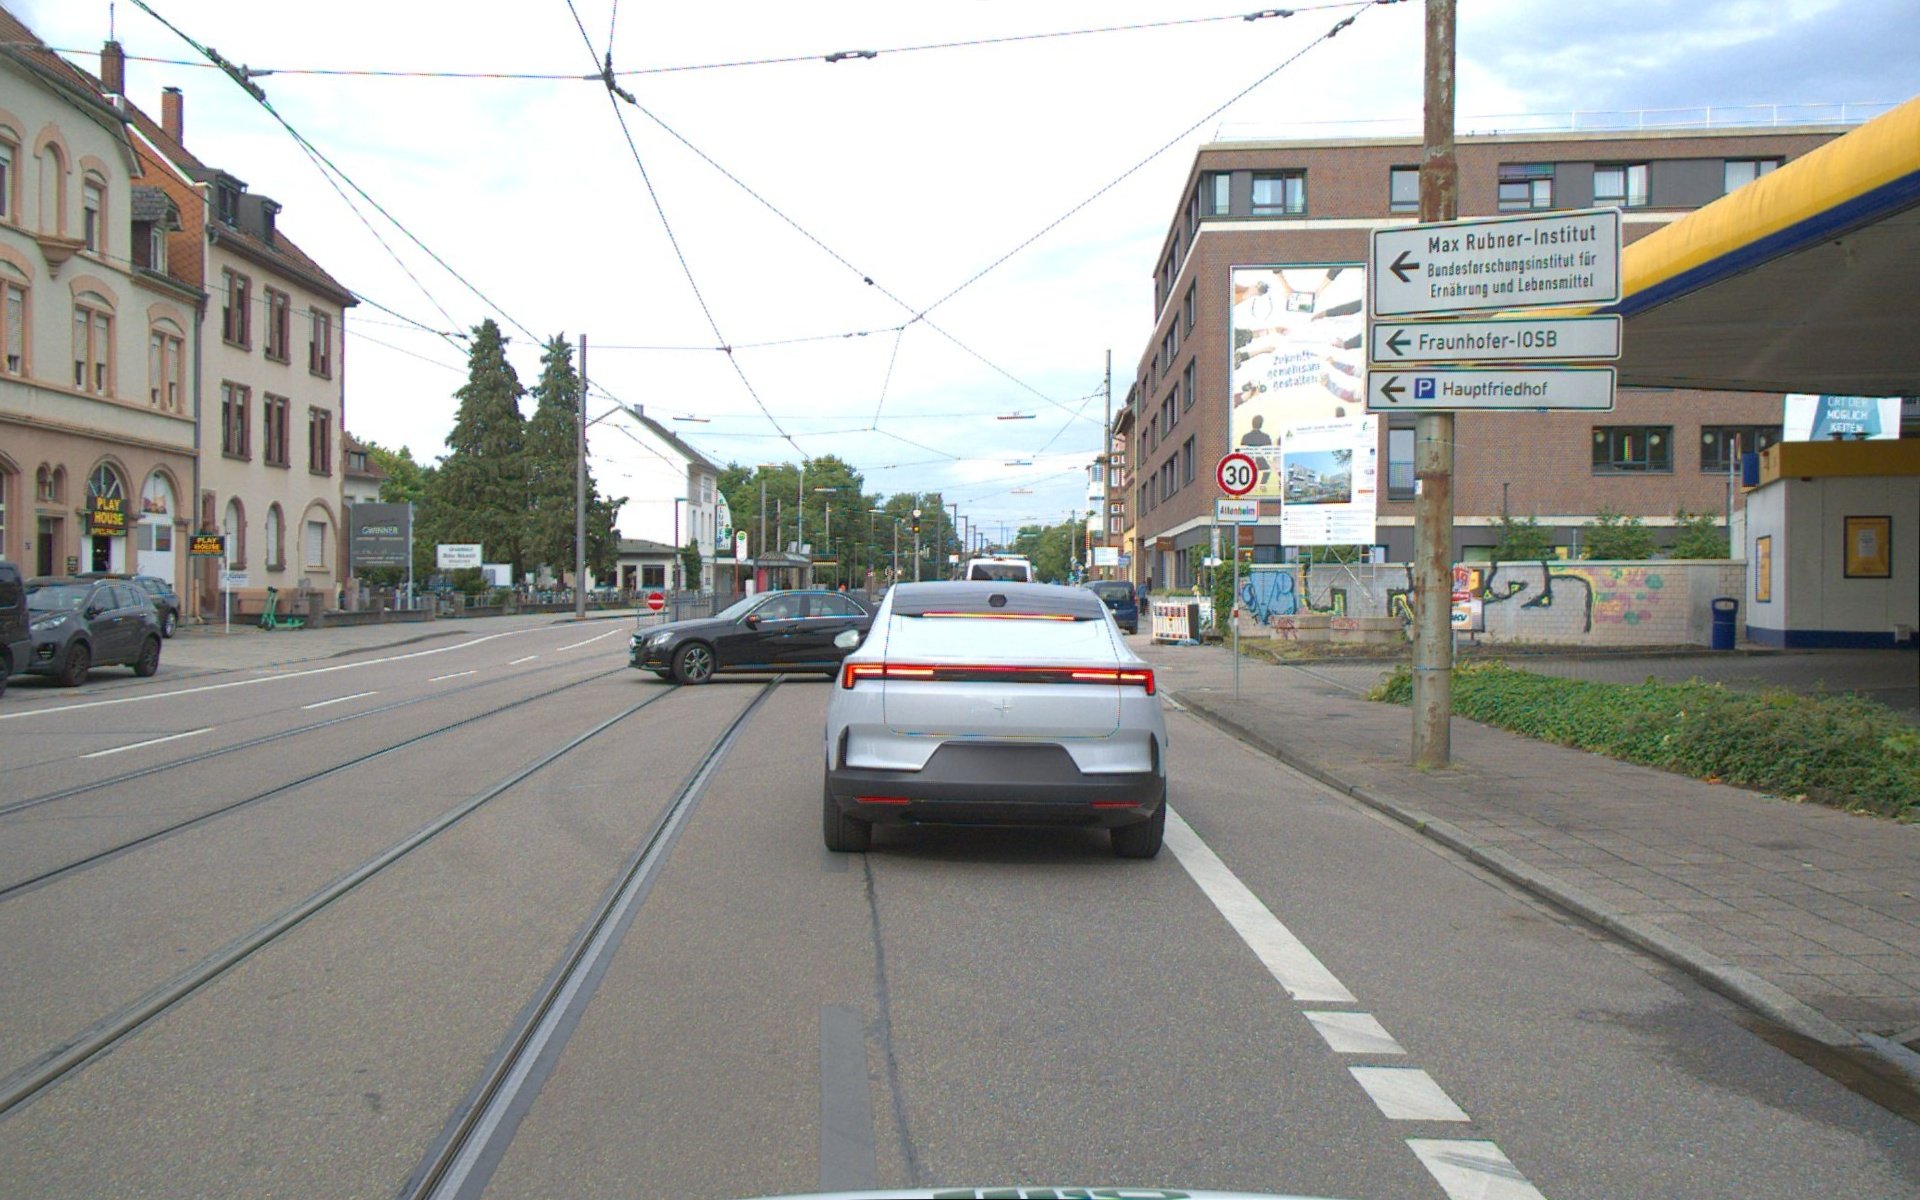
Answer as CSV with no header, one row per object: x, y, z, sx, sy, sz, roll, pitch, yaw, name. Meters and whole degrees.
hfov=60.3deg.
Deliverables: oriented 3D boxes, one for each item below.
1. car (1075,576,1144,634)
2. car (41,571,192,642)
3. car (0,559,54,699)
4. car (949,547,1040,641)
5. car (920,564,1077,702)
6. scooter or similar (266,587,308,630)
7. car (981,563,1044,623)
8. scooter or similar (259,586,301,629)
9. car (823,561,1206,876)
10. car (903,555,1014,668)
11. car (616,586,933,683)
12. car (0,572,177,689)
5.121,0.177,57.061,1.837,1.855,4.095,2,0,-2,car
-19.697,0.150,38.786,1.718,1.527,3.744,2,0,-3,car
-14.131,0.367,21.575,1.952,1.920,4.996,2,0,-2,car
0.911,-0.147,46.596,2.172,2.465,4.948,2,0,-3,car
0.474,0.441,23.922,1.930,1.787,3.835,2,0,-3,car
-19.273,0.236,47.392,1.041,1.209,0.314,2,-1,-37,scooter or similar
1.984,-0.239,63.857,2.096,2.183,4.742,2,0,-2,car
-19.660,0.229,47.813,1.041,1.209,0.314,2,-1,-37,scooter or similar
0.124,0.601,10.590,1.943,1.577,4.179,2,0,-5,car
-0.094,0.216,32.690,1.954,2.049,3.998,2,0,-3,car
-2.995,0.511,26.523,4.794,1.452,1.943,0,0,-18,car
-14.767,0.459,27.320,1.808,1.748,4.190,2,0,-3,car
